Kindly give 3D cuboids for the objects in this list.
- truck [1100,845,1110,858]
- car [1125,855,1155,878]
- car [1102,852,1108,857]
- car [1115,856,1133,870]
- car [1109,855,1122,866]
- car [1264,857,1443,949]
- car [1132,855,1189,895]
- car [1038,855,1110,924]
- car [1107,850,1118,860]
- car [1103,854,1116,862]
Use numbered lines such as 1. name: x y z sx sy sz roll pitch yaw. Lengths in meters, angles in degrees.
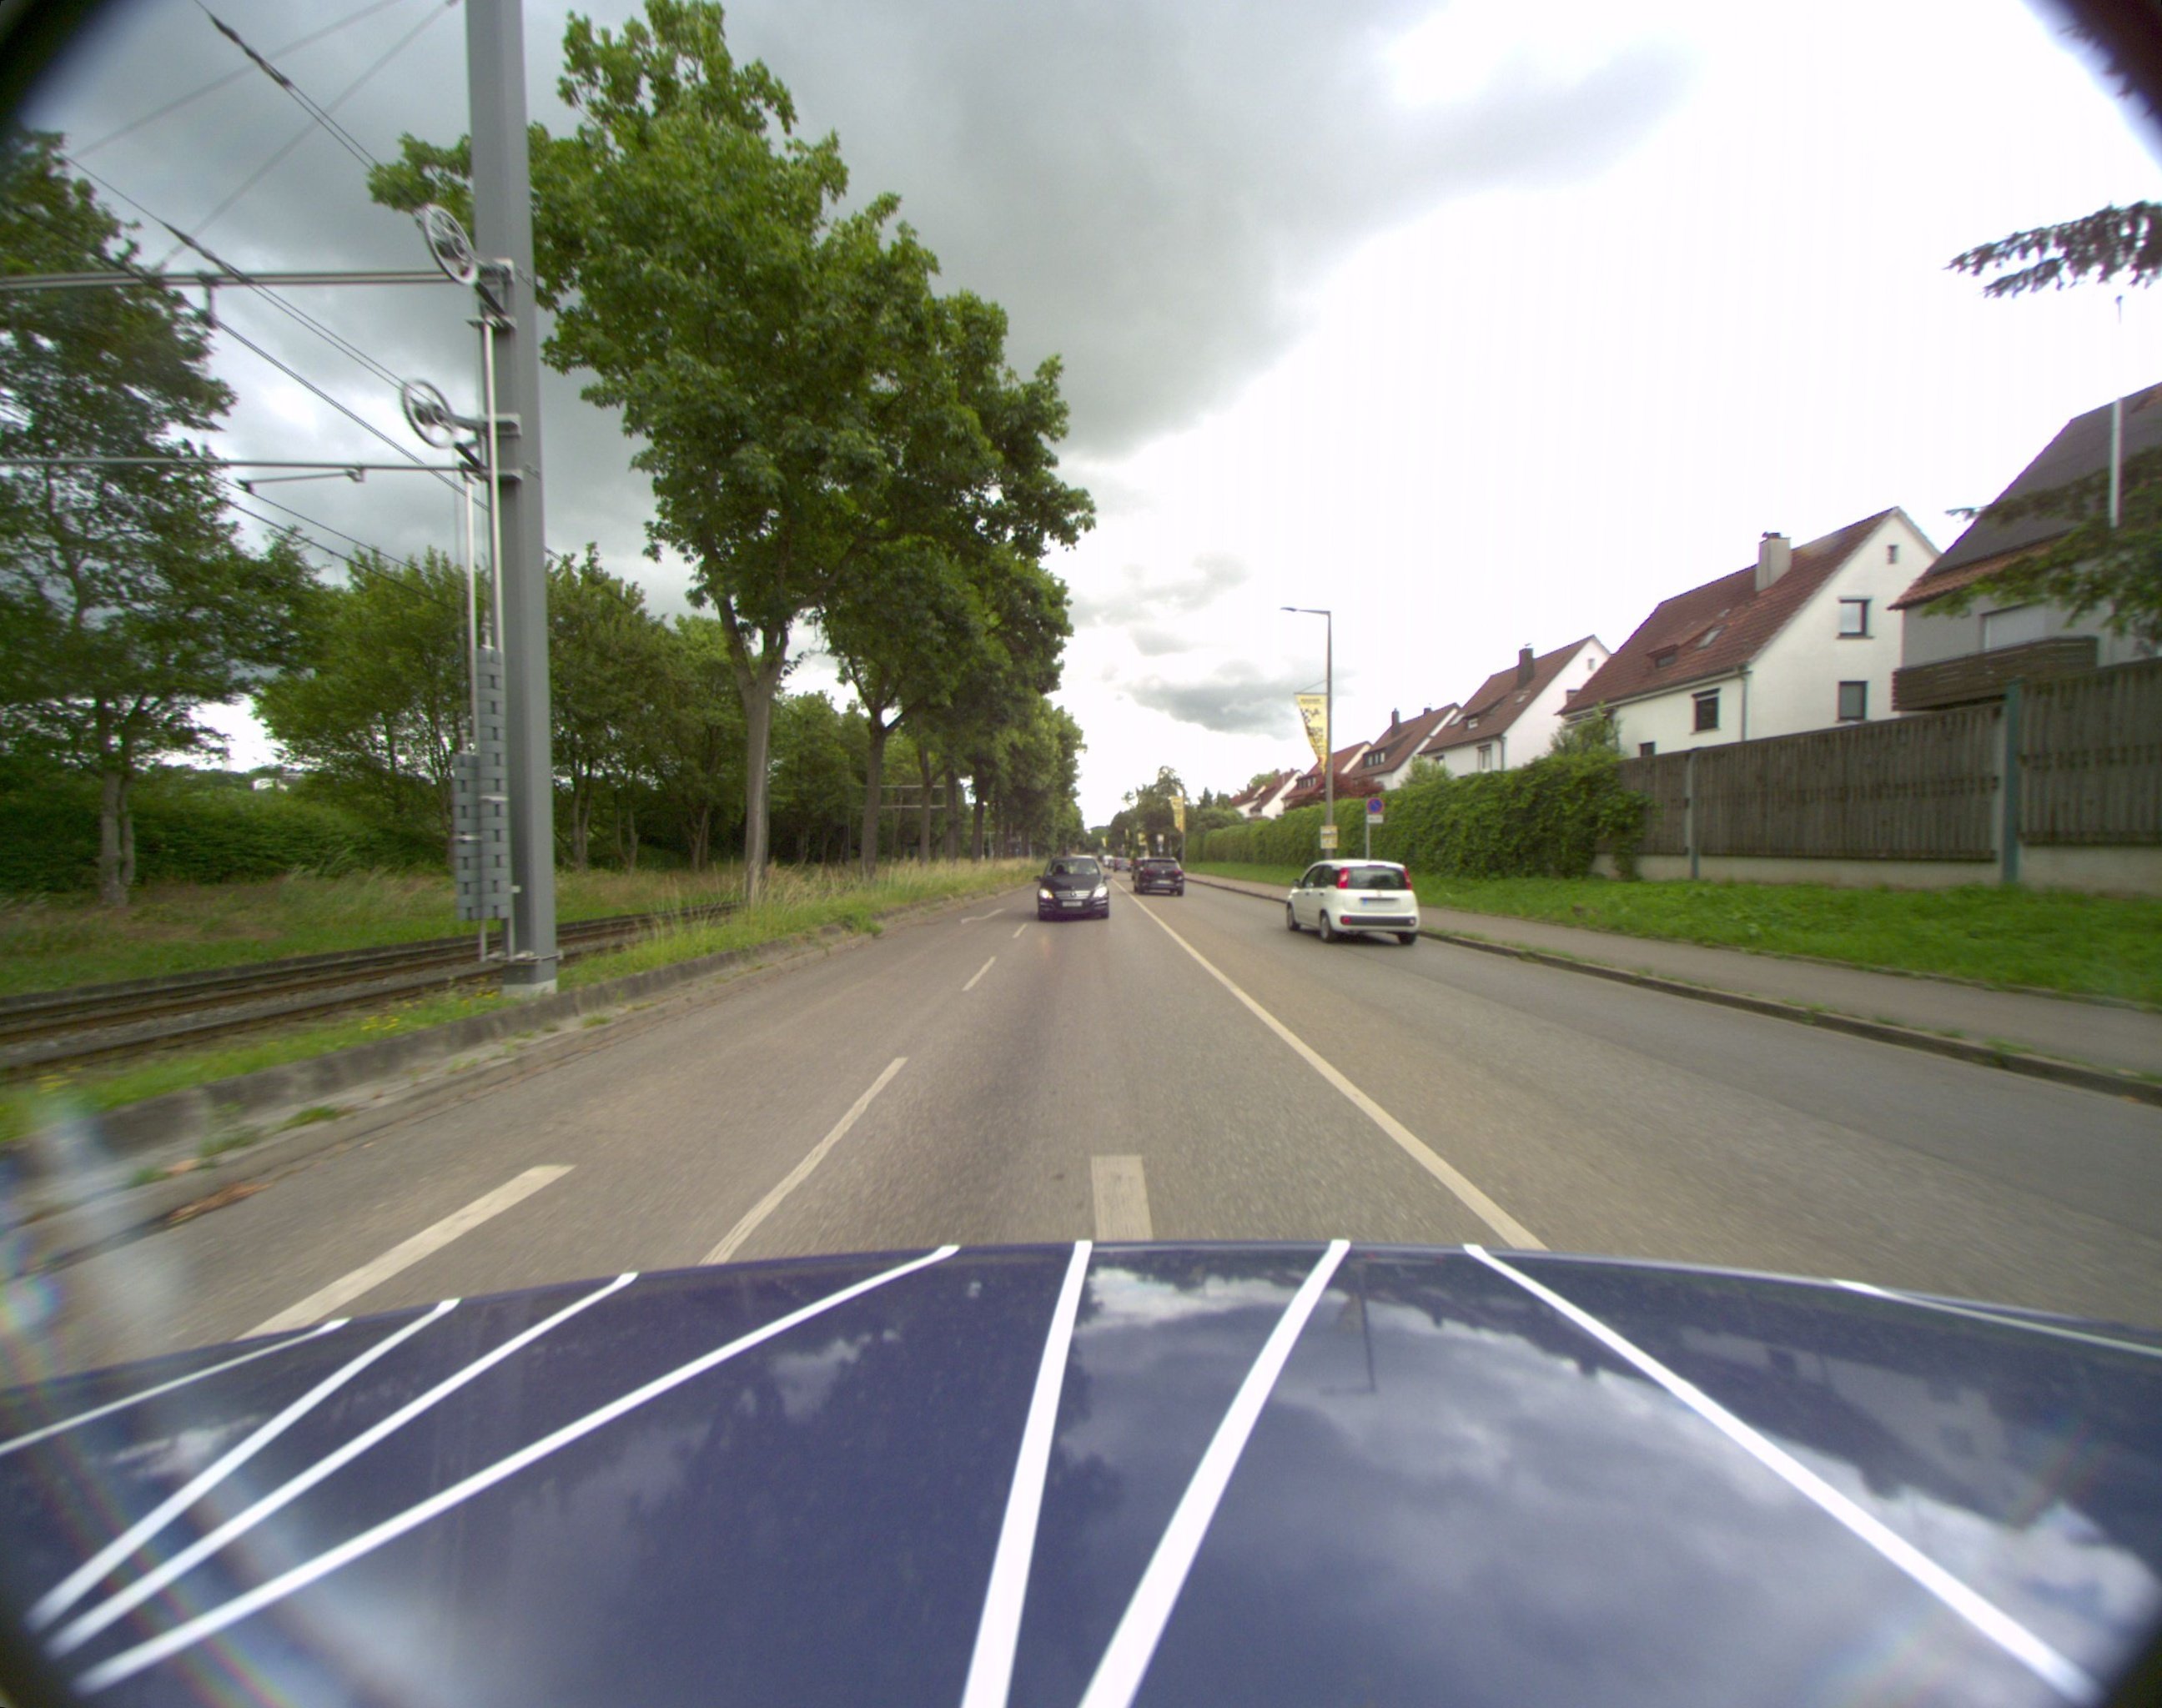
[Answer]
1. truck: 7.428 -0.769 235.969 2.556 4.020 10.618 1 1 0
2. car: 3.905 0.793 50.765 1.647 1.472 4.106 1 0 -1
3. car: 6.565 0.246 208.596 1.737 1.367 4.239 0 0 0
4. car: 4.649 0.938 81.906 1.732 1.455 4.153 1 0 0
5. car: 4.845 0.917 107.488 1.756 1.510 4.000 0 0 2
6. car: 5.216 0.849 15.311 1.817 1.515 4.700 1 0 -1
7. car: 3.201 0.819 31.369 1.817 1.515 4.176 1 0 -1
8. car: -0.169 0.863 20.416 1.683 1.565 4.482 -2 0 0
9. car: 6.388 0.148 154.668 1.911 1.921 4.910 2 0 0
10. car: 4.749 0.643 126.325 1.891 1.375 4.490 -1 0 -1
